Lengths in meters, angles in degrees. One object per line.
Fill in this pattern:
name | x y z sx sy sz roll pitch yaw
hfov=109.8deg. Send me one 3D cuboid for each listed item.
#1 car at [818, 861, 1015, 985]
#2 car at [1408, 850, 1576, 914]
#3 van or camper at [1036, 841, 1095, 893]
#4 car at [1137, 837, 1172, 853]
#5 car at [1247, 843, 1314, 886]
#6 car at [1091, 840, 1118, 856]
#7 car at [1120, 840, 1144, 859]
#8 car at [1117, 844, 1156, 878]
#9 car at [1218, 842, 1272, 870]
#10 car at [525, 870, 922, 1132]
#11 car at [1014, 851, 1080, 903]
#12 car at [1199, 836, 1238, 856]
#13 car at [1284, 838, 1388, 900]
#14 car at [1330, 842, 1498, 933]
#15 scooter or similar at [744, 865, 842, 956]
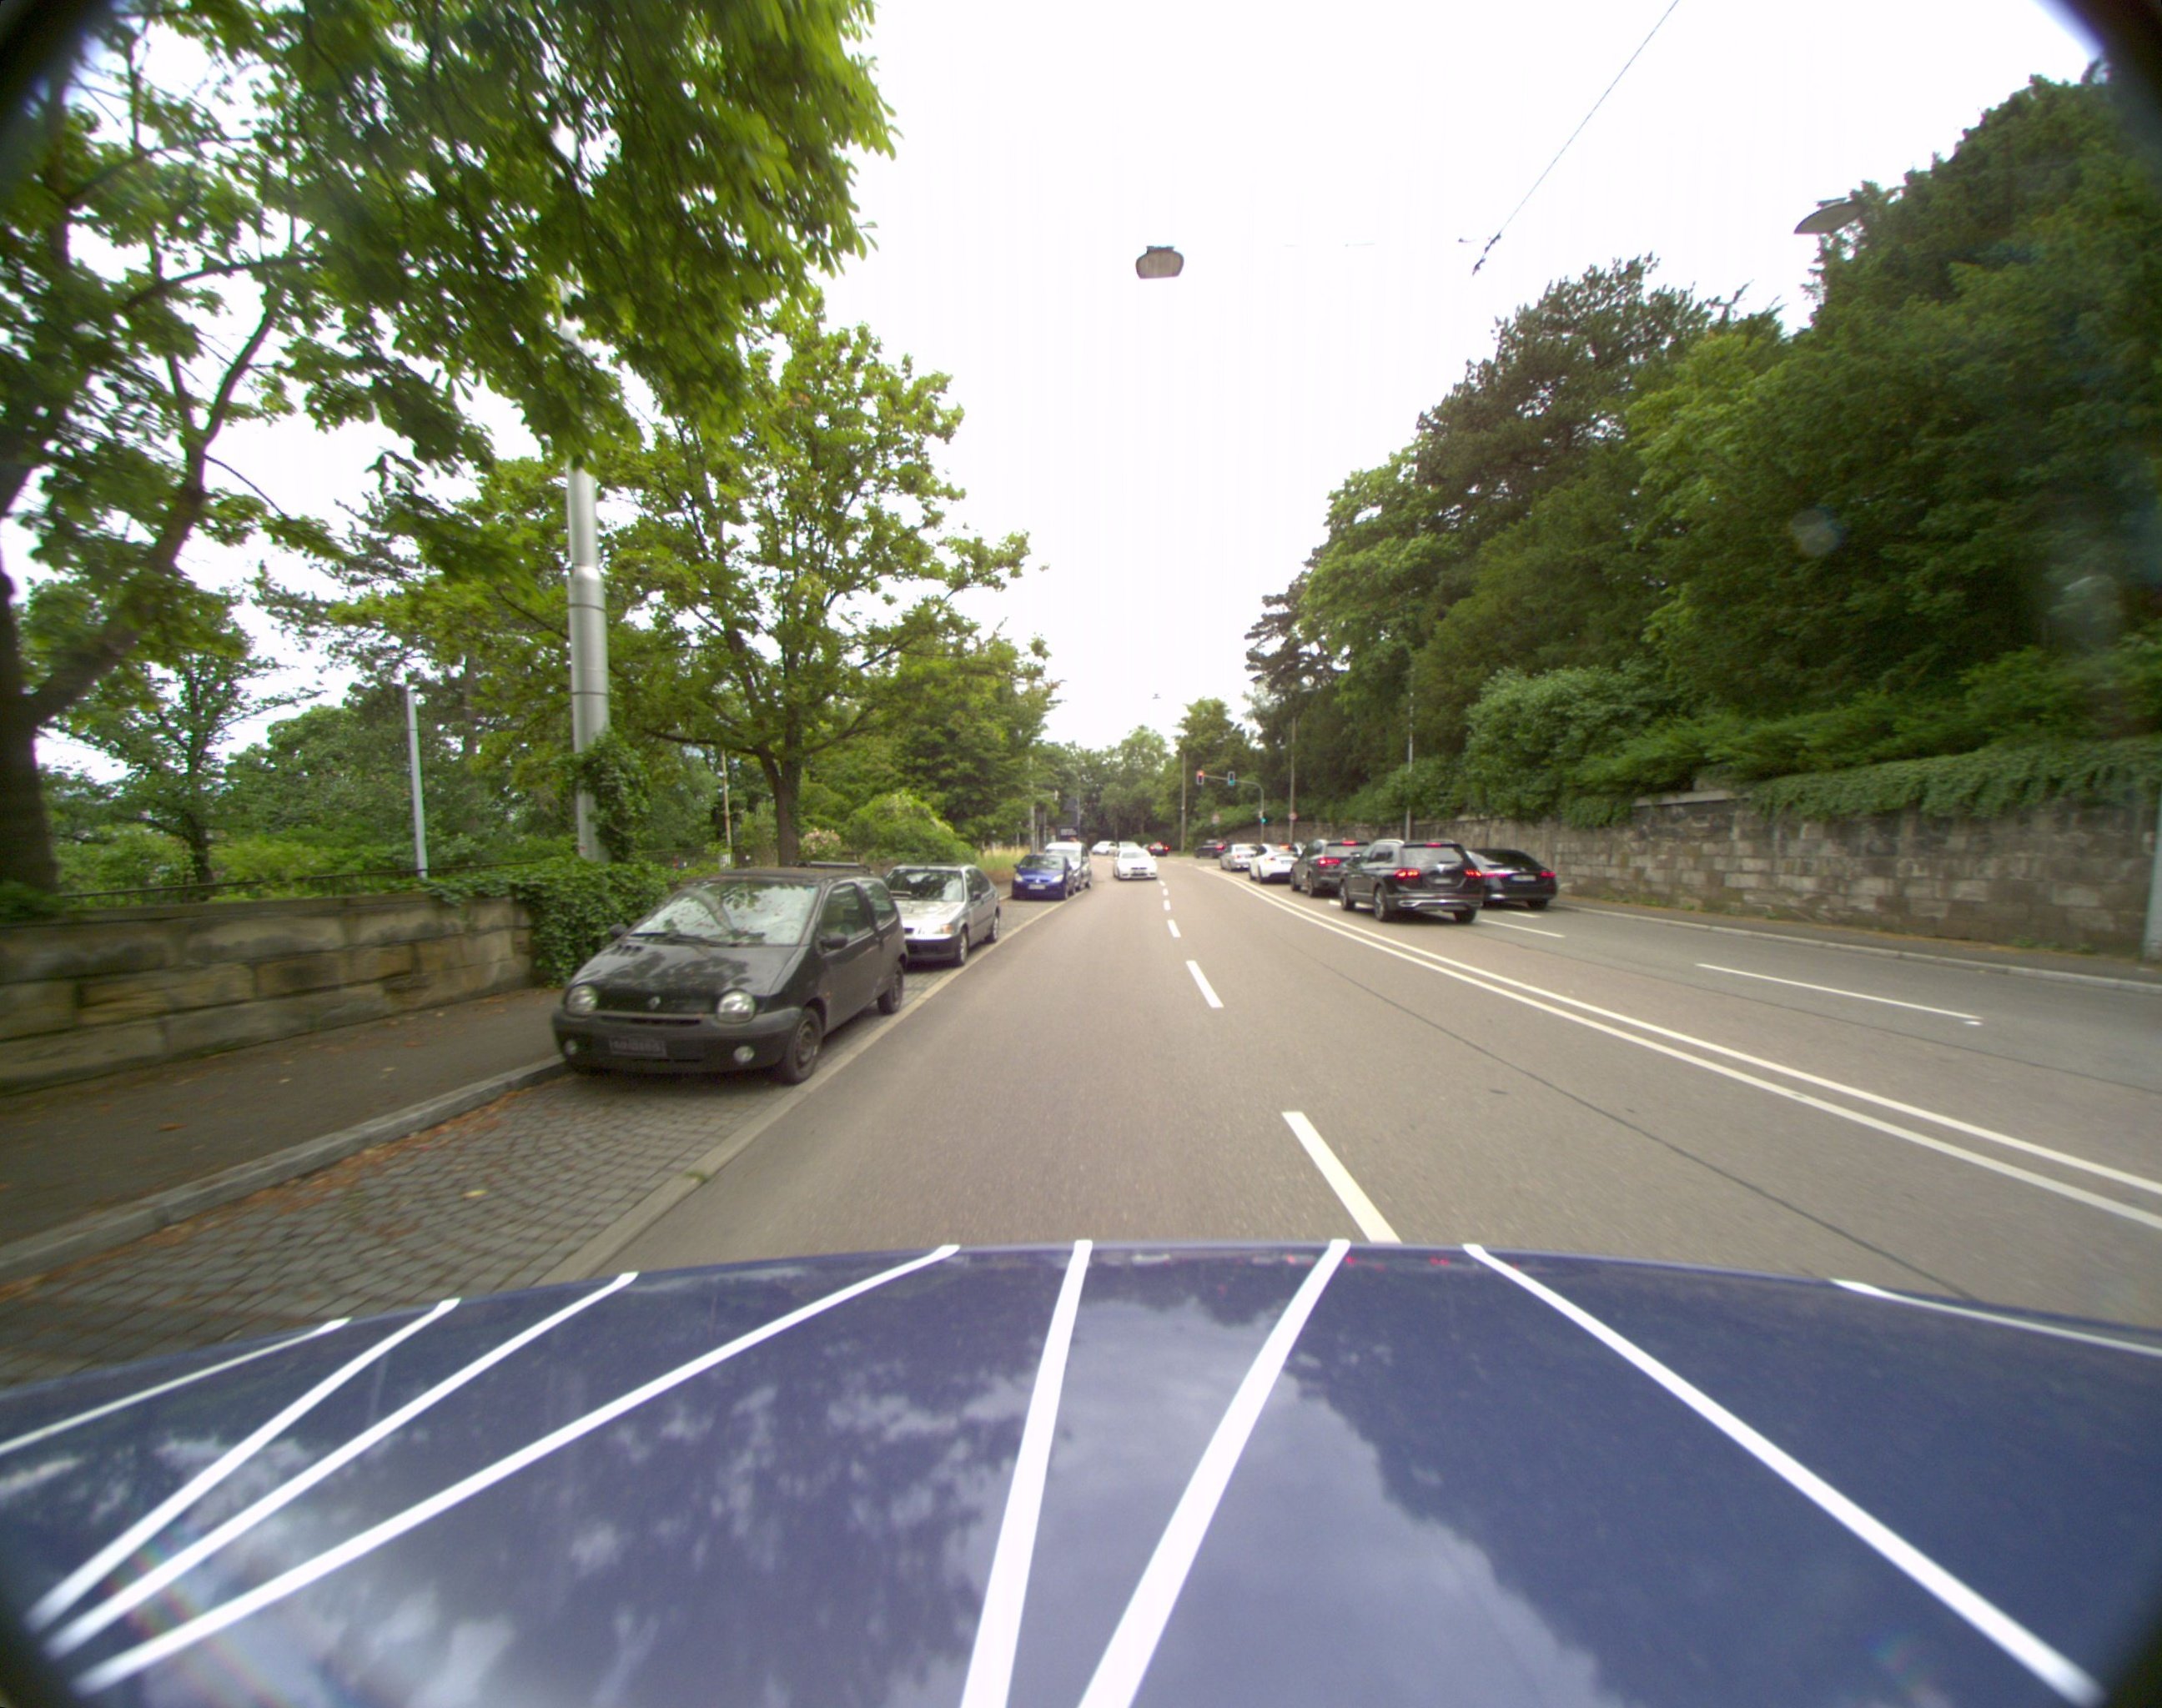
car | -2.276 0.889 11.824 1.774 1.391 4.551 1 1 4
car | 10.325 0.625 19.596 2.006 1.401 4.756 0 1 4
van or camper | -0.523 0.444 29.453 1.702 1.835 4.243 0 2 7
car | 7.036 -0.833 72.916 1.740 1.444 4.042 -2 2 -19
car | 8.130 0.372 31.324 1.841 1.545 4.789 -1 1 5
car | 2.757 -0.742 87.621 1.955 1.761 4.005 -1 1 20
car | 4.061 -0.363 60.819 1.802 1.382 3.526 0 2 3
car | 2.703 0.282 37.557 1.822 1.463 4.784 -1 2 3
car | 8.958 0.073 41.969 1.998 1.461 4.877 0 1 1
car | -2.546 0.928 6.334 1.565 1.414 3.424 2 1 2
car | -1.022 0.685 24.753 1.601 1.451 3.942 1 1 6
car | 10.403 -0.581 57.824 1.636 1.426 3.954 -2 1 -10
car | 7.822 0.378 23.812 1.964 1.740 4.879 0 1 5
car | 6.929 0.579 16.414 1.852 1.642 4.624 1 1 4
scooter or similar | -4.539 0.843 12.136 0.562 1.237 2.000 5 2 6
